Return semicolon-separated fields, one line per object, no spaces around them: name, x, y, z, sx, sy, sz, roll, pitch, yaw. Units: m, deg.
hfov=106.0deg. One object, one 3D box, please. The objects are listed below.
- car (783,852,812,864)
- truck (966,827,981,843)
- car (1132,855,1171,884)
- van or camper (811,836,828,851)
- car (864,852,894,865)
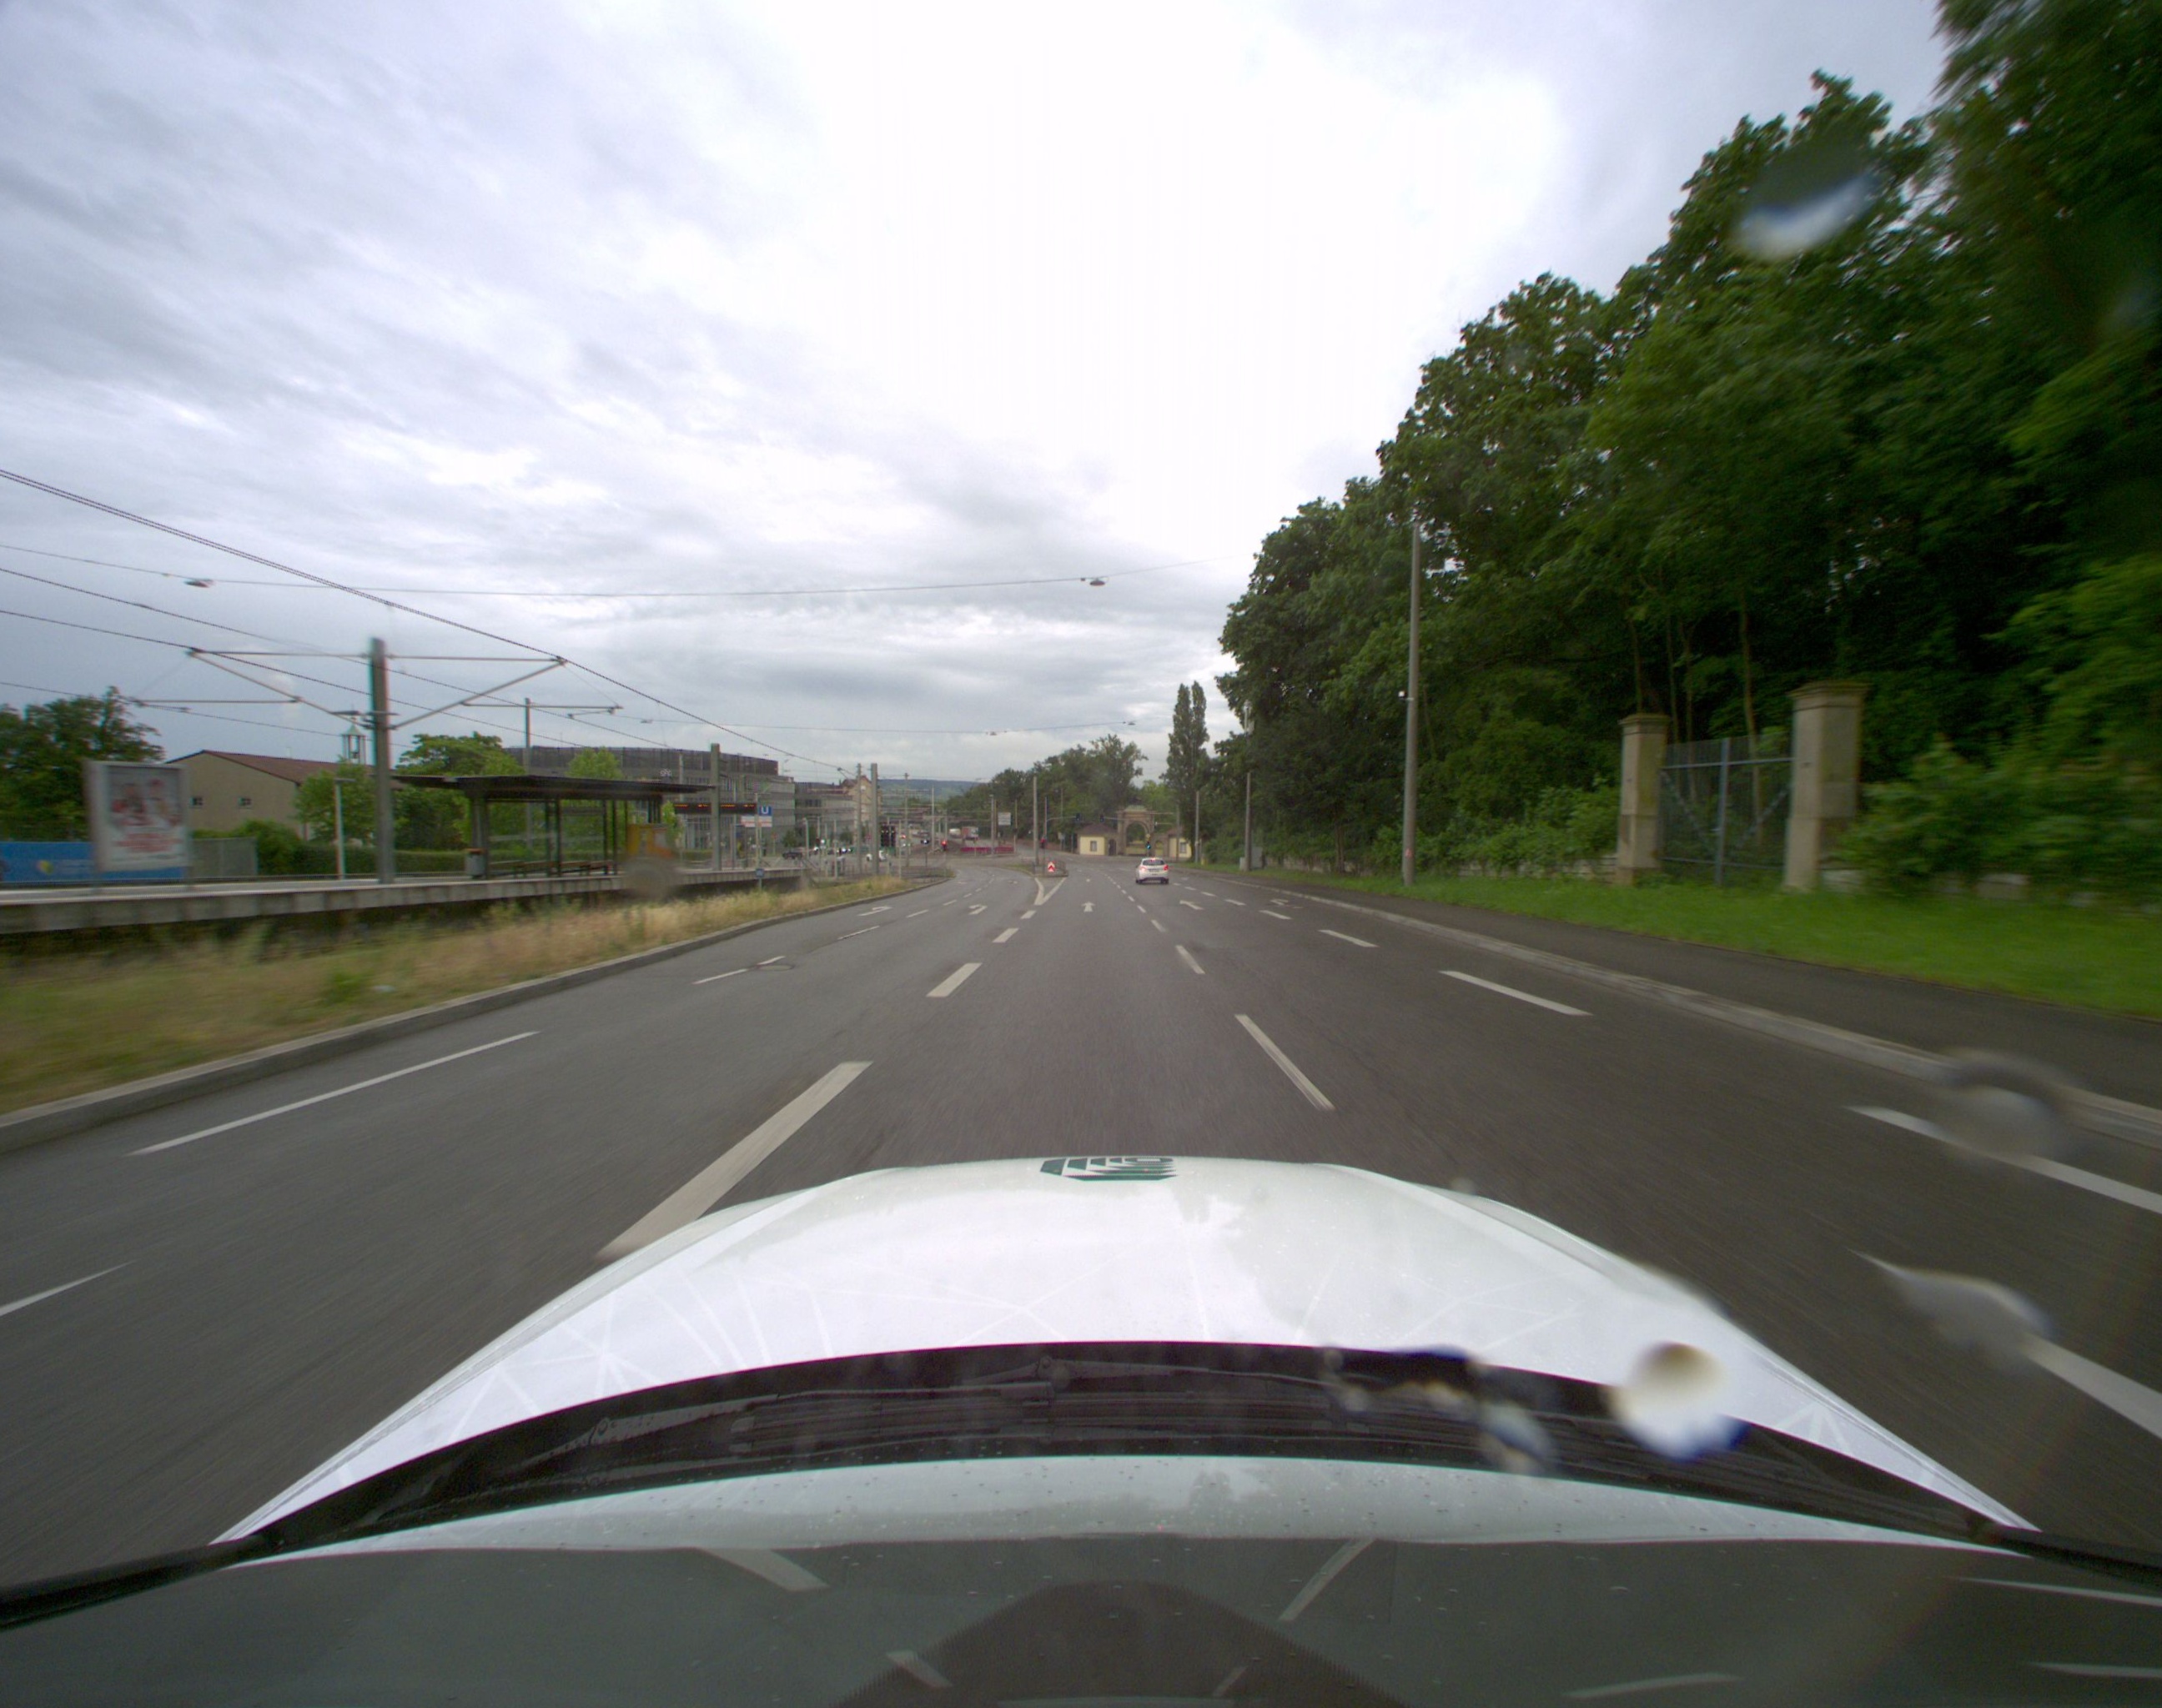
car;-42.229;0.562;121.363;3.949;1.706;2.012;0;0;30
truck;-33.207;-5.850;251.575;3.416;4.570;11.241;3;0;-12
car;3.998;0.880;46.650;1.863;1.511;3.898;-2;-1;0
van or camper;-45.005;-1.757;140.255;1.991;2.345;3.991;-2;0;-7
car;-28.019;0.664;112.964;3.949;1.606;1.840;3;1;37
